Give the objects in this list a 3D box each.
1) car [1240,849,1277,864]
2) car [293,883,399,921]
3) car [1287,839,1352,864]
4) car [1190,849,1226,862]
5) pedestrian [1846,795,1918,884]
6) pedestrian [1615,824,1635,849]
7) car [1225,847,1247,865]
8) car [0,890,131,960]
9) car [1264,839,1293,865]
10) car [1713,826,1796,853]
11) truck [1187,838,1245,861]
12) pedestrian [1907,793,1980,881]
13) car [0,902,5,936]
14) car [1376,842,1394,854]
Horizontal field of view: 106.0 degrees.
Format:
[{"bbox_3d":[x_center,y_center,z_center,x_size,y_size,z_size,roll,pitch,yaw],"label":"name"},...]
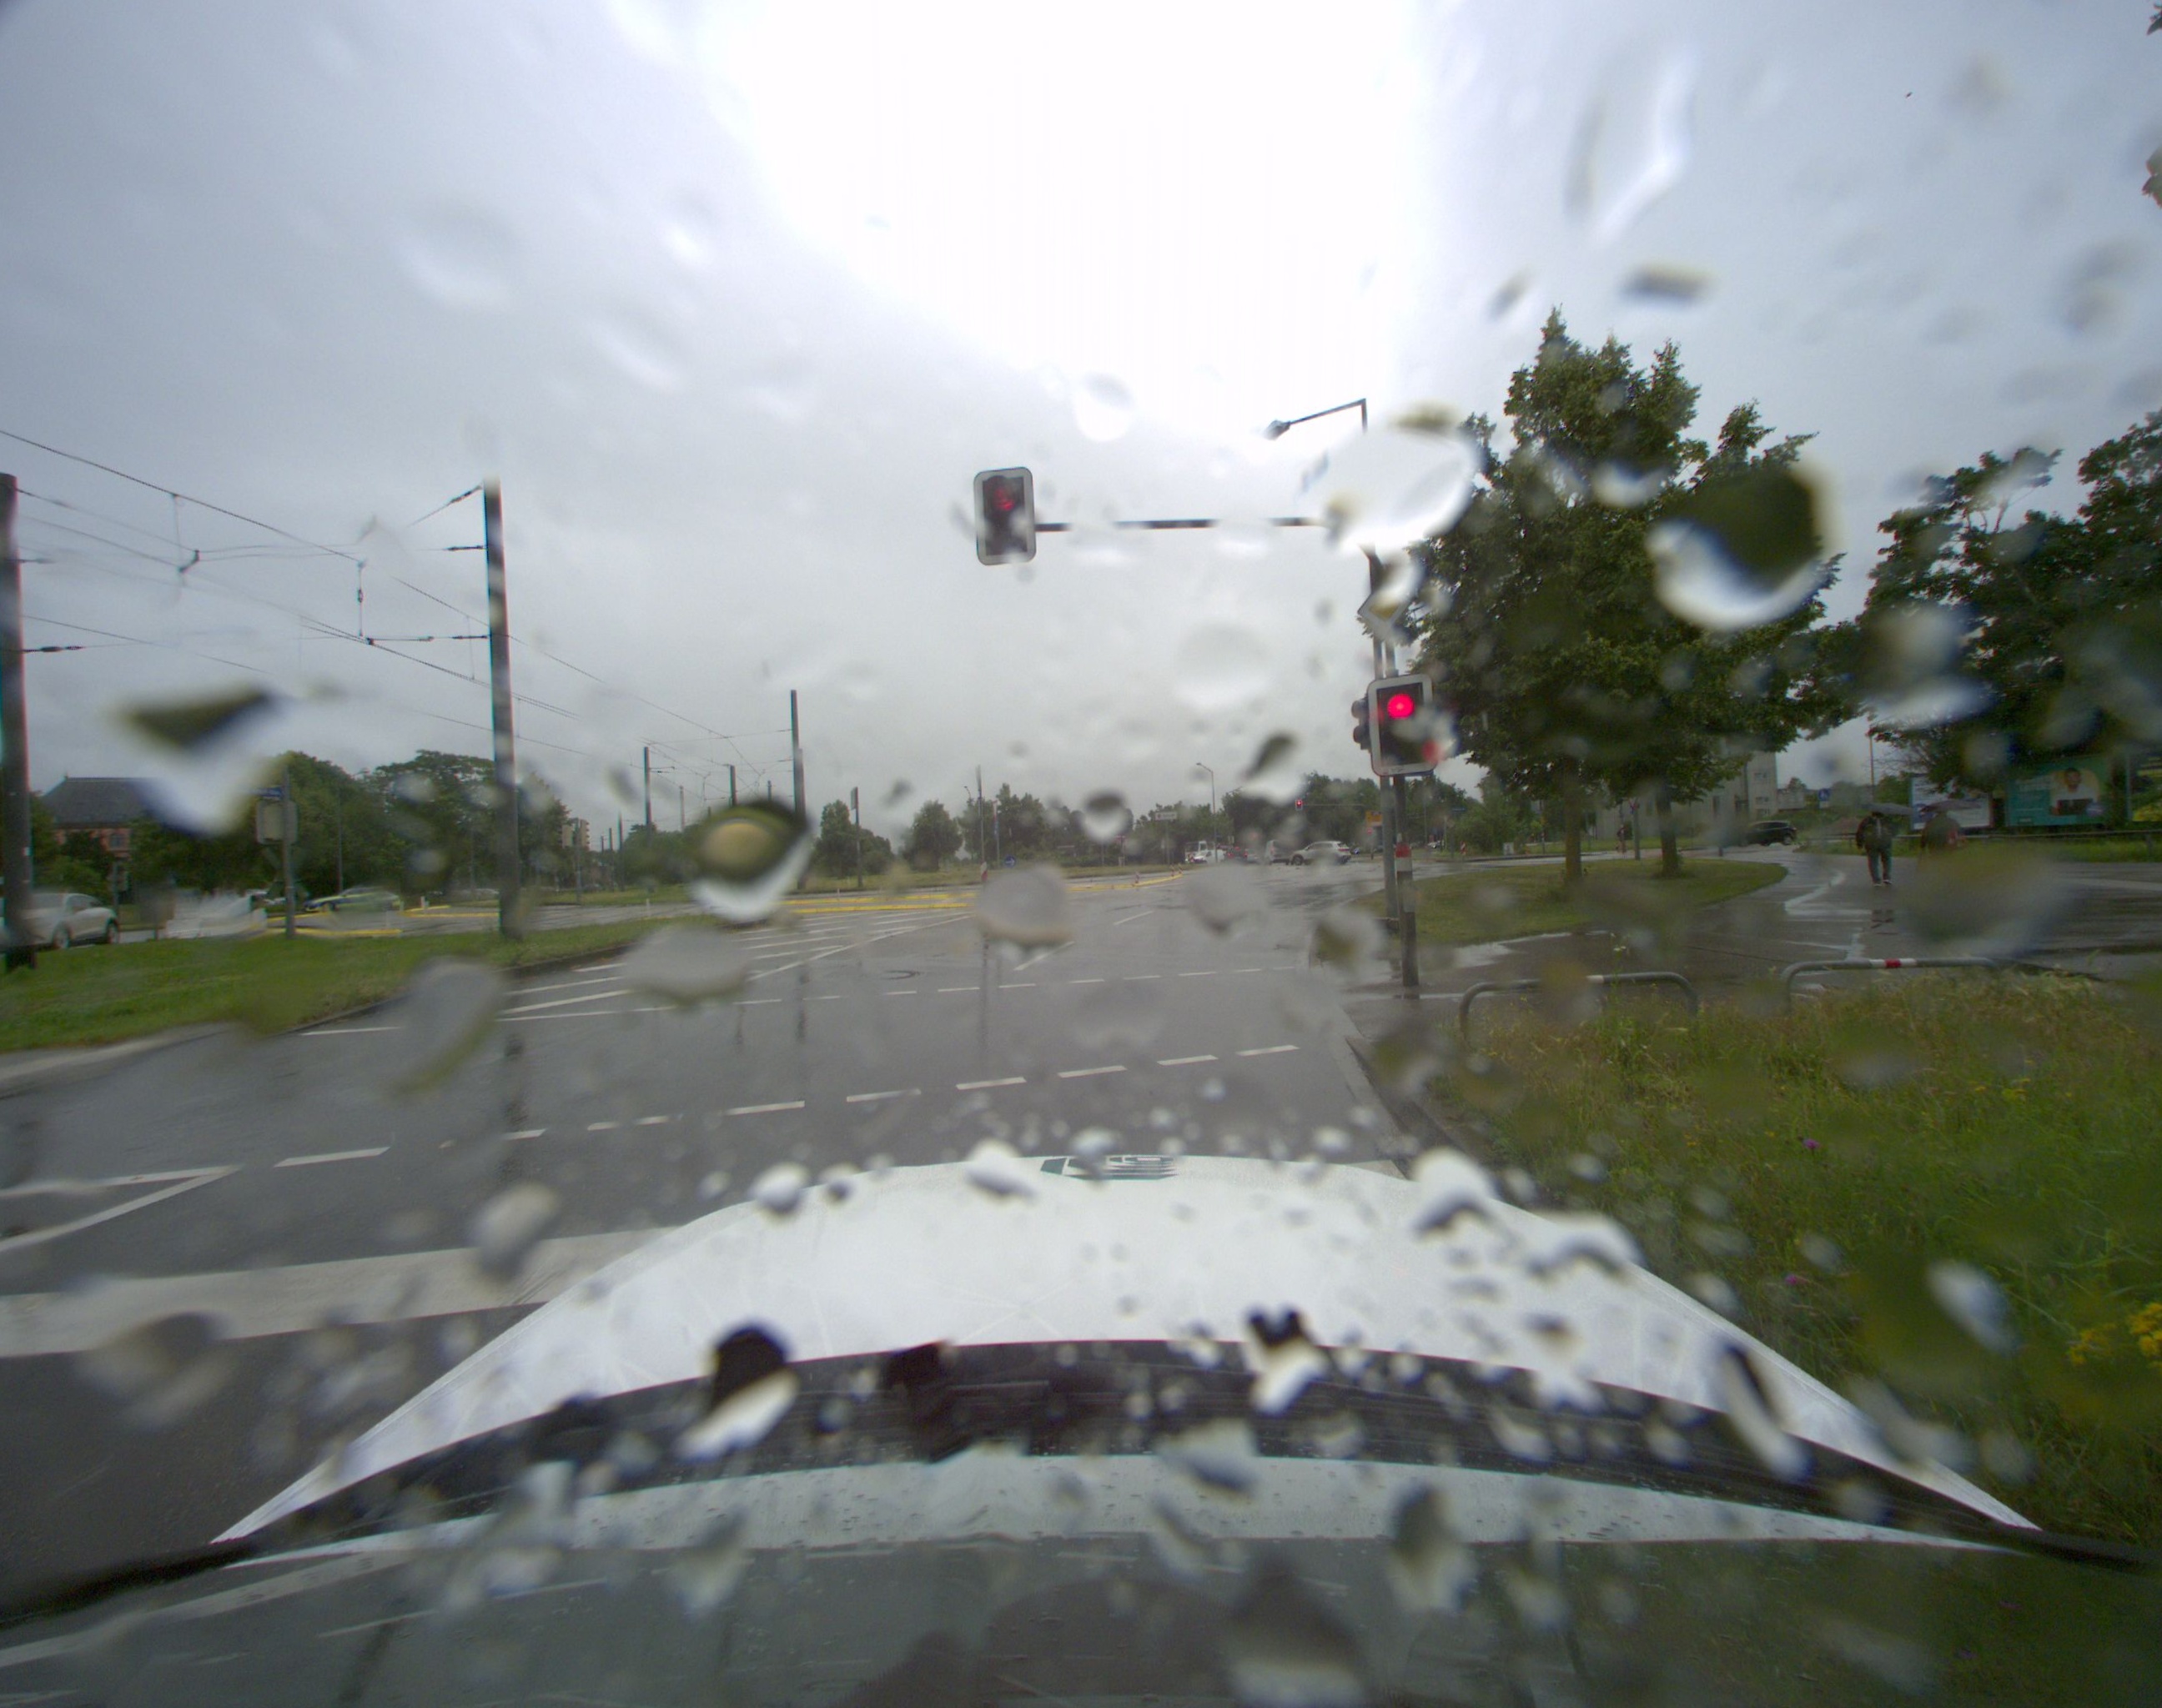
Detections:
[{"bbox_3d":[16.463,0.254,75.629,3.137,1.372,1.379,0,-1,-24],"label":"car"},{"bbox_3d":[-49.048,3.151,54.481,1.975,2.327,4.870,-1,-1,26],"label":"car"},{"bbox_3d":[16.340,-0.165,55.788,3.896,1.648,1.697,-1,-1,37],"label":"car"},{"bbox_3d":[14.699,0.207,94.136,4.574,1.492,1.592,0,-1,-43],"label":"car"},{"bbox_3d":[16.760,-0.289,17.048,0.811,1.784,0.914,0,-1,-33],"label":"pedestrian"},{"bbox_3d":[38.788,-1.248,58.094,0.947,1.772,0.715,-1,-1,11],"label":"pedestrian"},{"bbox_3d":[13.402,0.176,70.473,1.680,1.492,3.257,0,-1,7],"label":"car"},{"bbox_3d":[-26.176,1.719,20.476,1.859,1.486,4.182,0,-1,-33],"label":"car"},{"bbox_3d":[15.839,-0.156,65.374,1.774,2.036,4.008,0,-1,7],"label":"car"},{"bbox_3d":[42.694,-0.890,51.641,3.982,1.648,1.785,0,-1,-7],"label":"car"},{"bbox_3d":[16.745,-0.532,100.461,8.844,2.711,1.976,0,-1,-42],"label":"truck"},{"bbox_3d":[18.204,-0.347,17.197,0.811,1.784,0.914,0,-1,-33],"label":"pedestrian"},{"bbox_3d":[-58.615,3.432,41.055,4.863,1.811,1.978,0,-1,-37],"label":"car"},{"bbox_3d":[53.331,-1.096,142.930,1.771,2.014,3.697,-1,-1,39],"label":"car"}]
